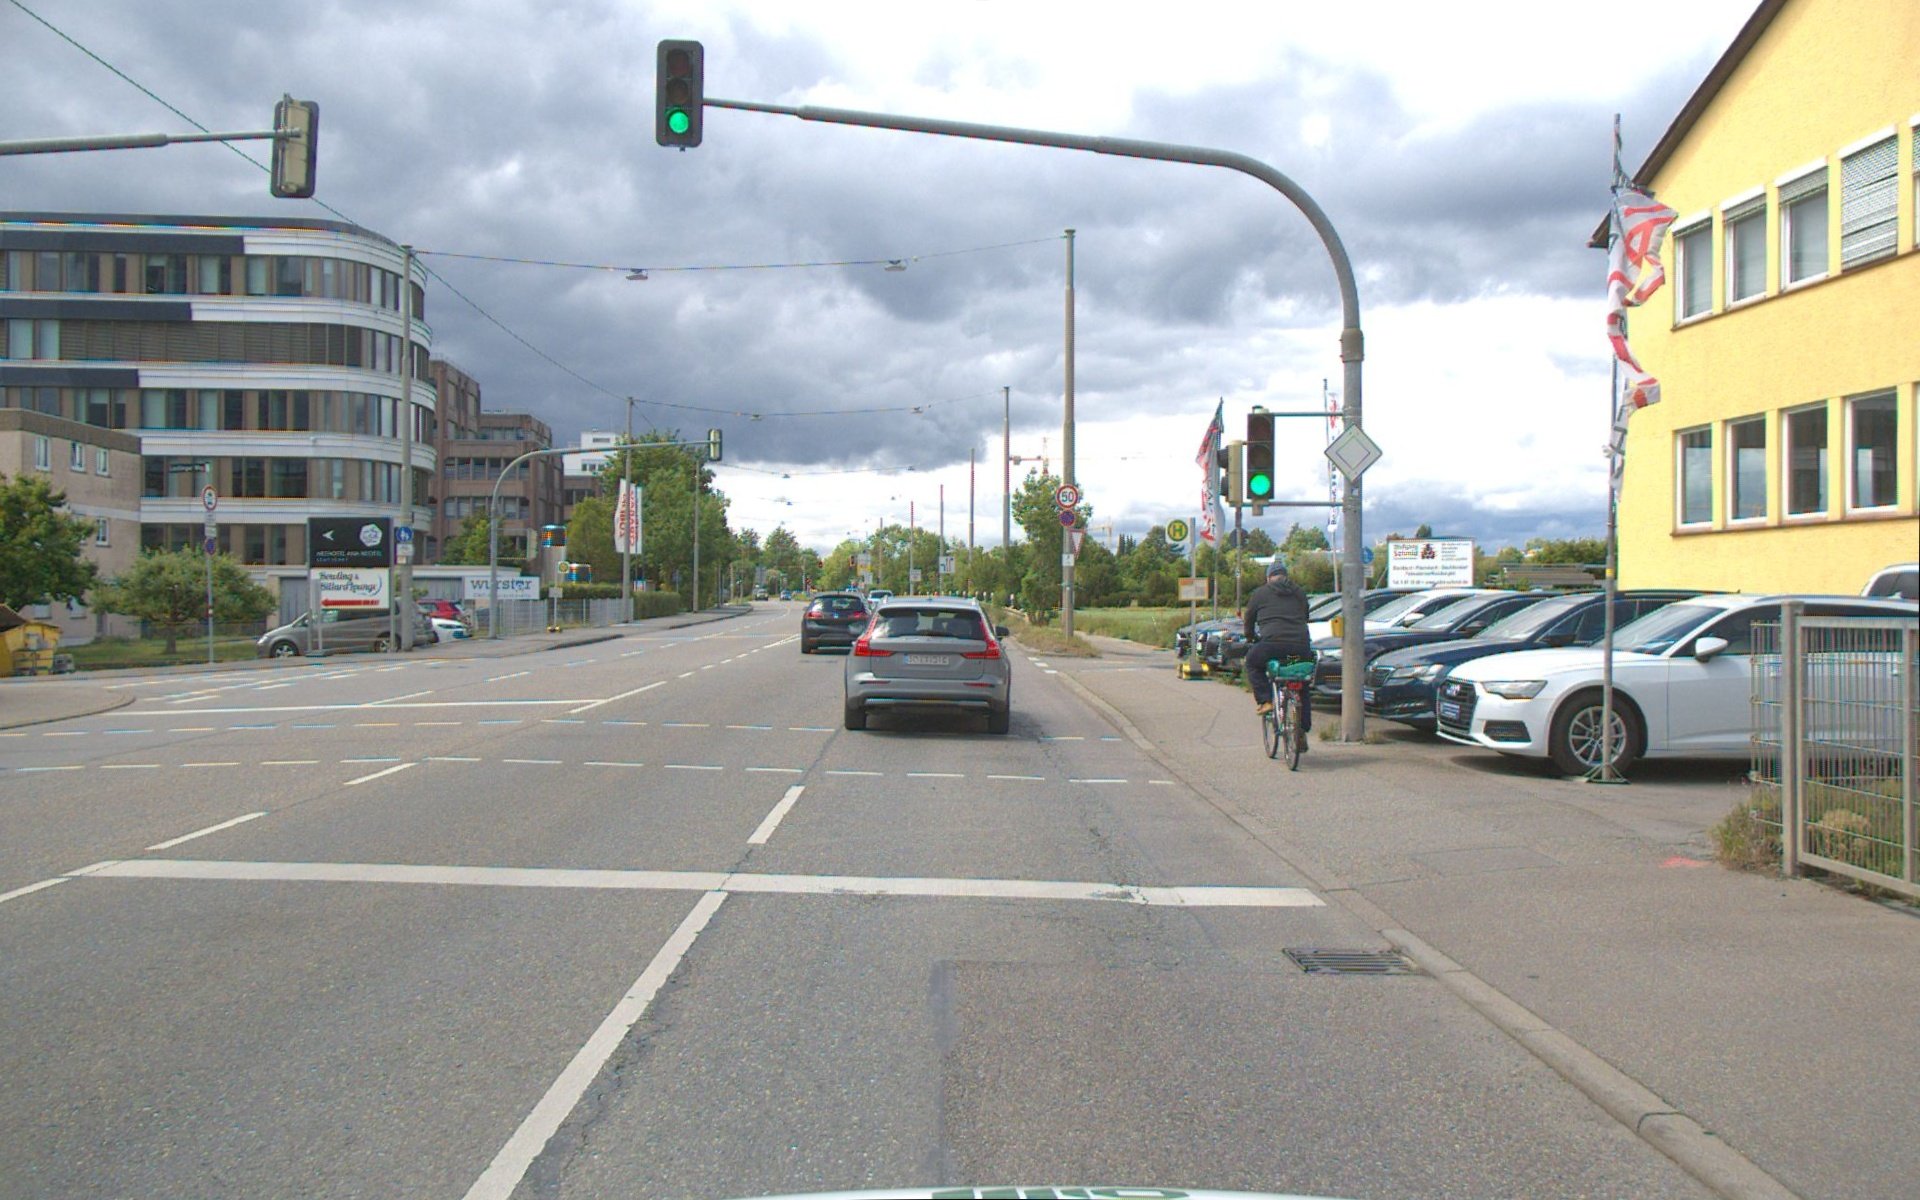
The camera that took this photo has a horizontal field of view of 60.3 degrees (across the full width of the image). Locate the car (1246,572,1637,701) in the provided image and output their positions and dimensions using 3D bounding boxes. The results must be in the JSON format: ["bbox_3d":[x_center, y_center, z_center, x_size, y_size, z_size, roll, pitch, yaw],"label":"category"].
[{"bbox_3d":[6.433,0.472,22.505,4.702,1.506,2.032,2,0,0],"label":"car"}]

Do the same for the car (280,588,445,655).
[{"bbox_3d":[-16.864,0.608,46.822,3.910,1.449,1.854,-6,0,-4],"label":"car"}]

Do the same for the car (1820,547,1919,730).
[{"bbox_3d":[10.689,0.384,16.784,1.934,1.853,5.034,0,-1,9],"label":"car"}]

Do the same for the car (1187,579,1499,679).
[{"bbox_3d":[6.378,0.470,27.953,4.753,1.455,2.038,2,0,-1],"label":"car"}]

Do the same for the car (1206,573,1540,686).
[{"bbox_3d":[6.221,0.429,25.318,4.581,1.519,2.015,2,0,0],"label":"car"}]

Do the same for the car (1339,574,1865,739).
[{"bbox_3d":[6.389,0.536,16.841,4.565,1.519,2.034,1,0,-2],"label":"car"}]

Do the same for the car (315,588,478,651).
[{"bbox_3d":[-16.730,0.584,49.252,4.145,1.411,1.981,-6,0,-7],"label":"car"}]

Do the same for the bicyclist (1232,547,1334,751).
[{"bbox_3d":[2.835,0.417,14.578,0.625,1.704,0.890,-3,0,-1],"label":"bicyclist"}]

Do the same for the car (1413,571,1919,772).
[{"bbox_3d":[6.429,0.559,13.983,4.602,1.519,2.045,1,1,-2],"label":"car"}]

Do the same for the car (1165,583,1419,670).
[{"bbox_3d":[6.071,0.497,30.569,4.235,1.423,2.002,2,-1,-4],"label":"car"}]

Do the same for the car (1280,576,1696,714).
[{"bbox_3d":[6.189,0.504,19.736,4.282,1.428,1.987,2,0,-3],"label":"car"}]

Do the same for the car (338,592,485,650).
[{"bbox_3d":[-17.187,0.651,51.944,3.910,1.393,1.847,-6,0,-4],"label":"car"}]

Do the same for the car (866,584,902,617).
[{"bbox_3d":[-4.288,0.044,93.882,1.953,1.724,3.998,2,-1,-2],"label":"car"}]

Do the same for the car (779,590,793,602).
[{"bbox_3d":[-25.738,-0.596,244.288,1.844,1.547,3.997,2,-1,-3],"label":"car"}]

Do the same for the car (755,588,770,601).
[{"bbox_3d":[-29.038,-0.820,243.179,1.844,1.747,3.997,2,-1,-3],"label":"car"}]

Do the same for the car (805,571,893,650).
[{"bbox_3d":[-2.663,0.253,39.844,1.954,1.747,3.997,2,-1,-4],"label":"car"}]

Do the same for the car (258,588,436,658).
[{"bbox_3d":[-16.350,0.594,44.290,4.018,1.422,1.904,-6,2,-9],"label":"car"}]

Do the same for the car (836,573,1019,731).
[{"bbox_3d":[-0.336,0.563,19.219,1.857,1.581,4.000,2,-1,0],"label":"car"}]

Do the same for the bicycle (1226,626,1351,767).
[{"bbox_3d":[2.861,0.807,14.597,0.625,1.081,1.977,-3,0,-1],"label":"bicycle"}]
